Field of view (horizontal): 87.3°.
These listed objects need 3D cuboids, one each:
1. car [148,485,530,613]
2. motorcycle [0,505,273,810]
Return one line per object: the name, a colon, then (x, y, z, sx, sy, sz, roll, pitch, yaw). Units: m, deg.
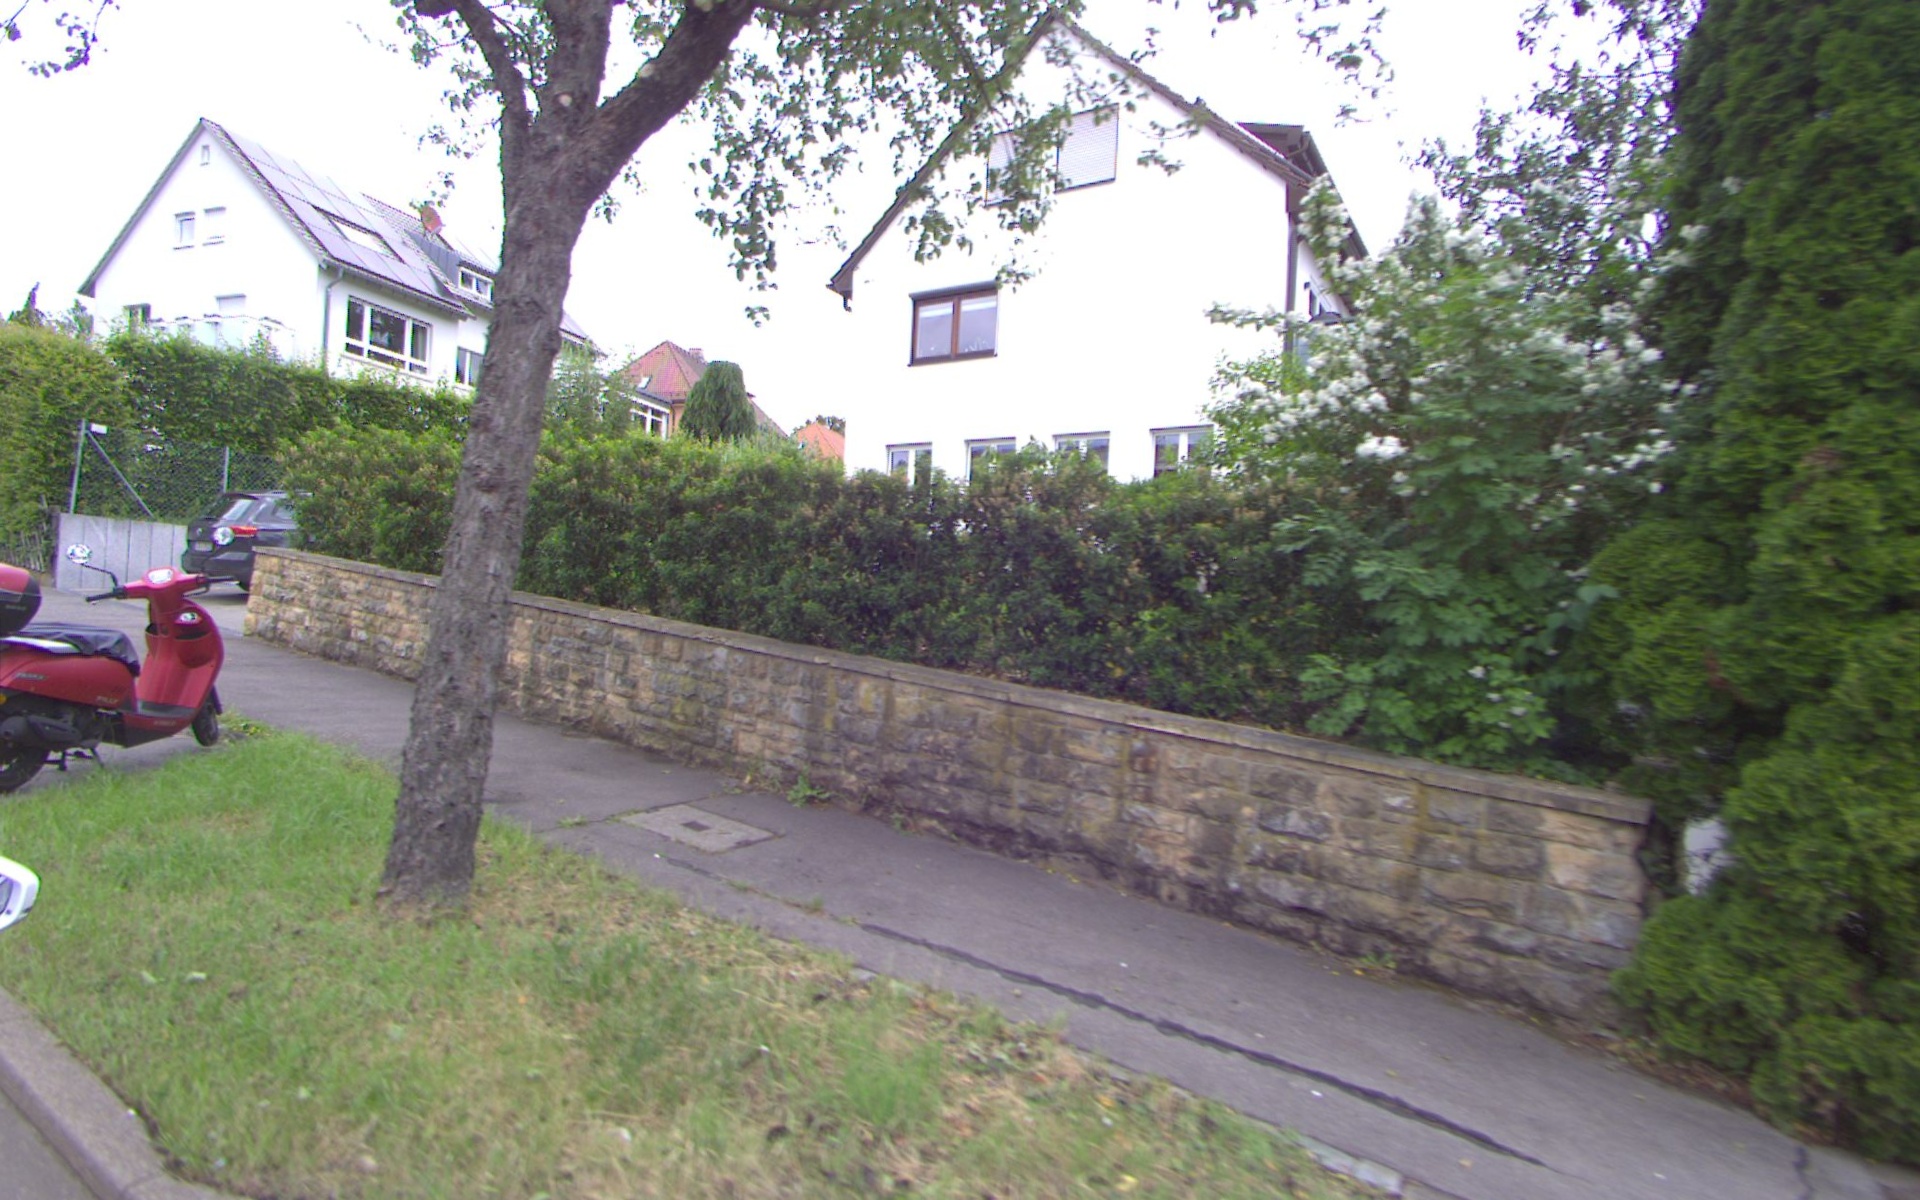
car: (-8.837, -0.831, 14.763, 1.935, 1.491, 4.355, 7, 8, 31)
motorcycle: (-4.637, 0.230, 5.394, 0.589, 1.364, 1.866, 6, 1, -3)
